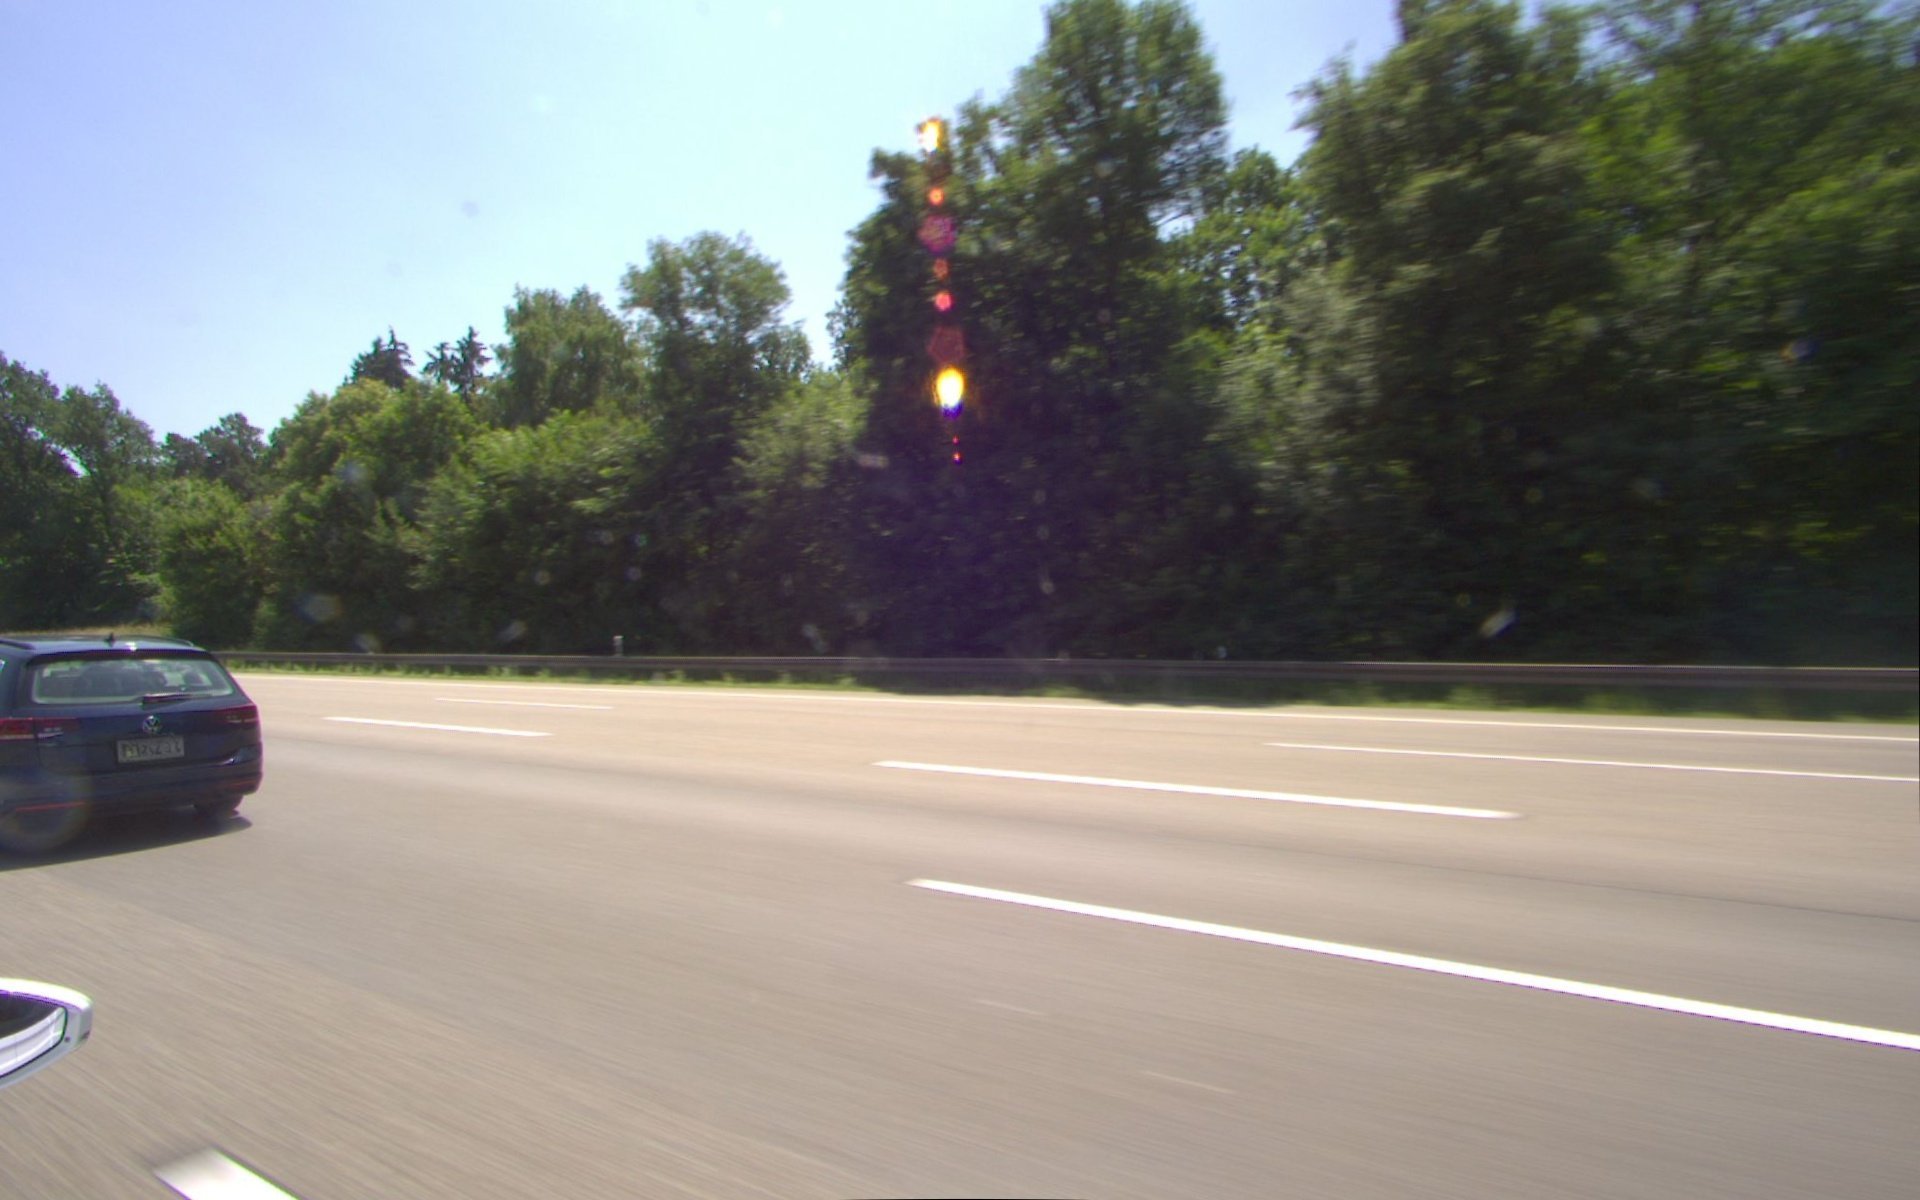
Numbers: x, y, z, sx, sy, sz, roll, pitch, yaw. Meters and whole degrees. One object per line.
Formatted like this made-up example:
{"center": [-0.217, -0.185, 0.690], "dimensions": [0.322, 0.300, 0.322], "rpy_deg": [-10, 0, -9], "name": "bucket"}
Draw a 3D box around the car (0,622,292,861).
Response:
{"center": [-7.546, 0.935, 8.137], "dimensions": [4.891, 1.465, 1.727], "rpy_deg": [-1, -3, 33], "name": "car"}
